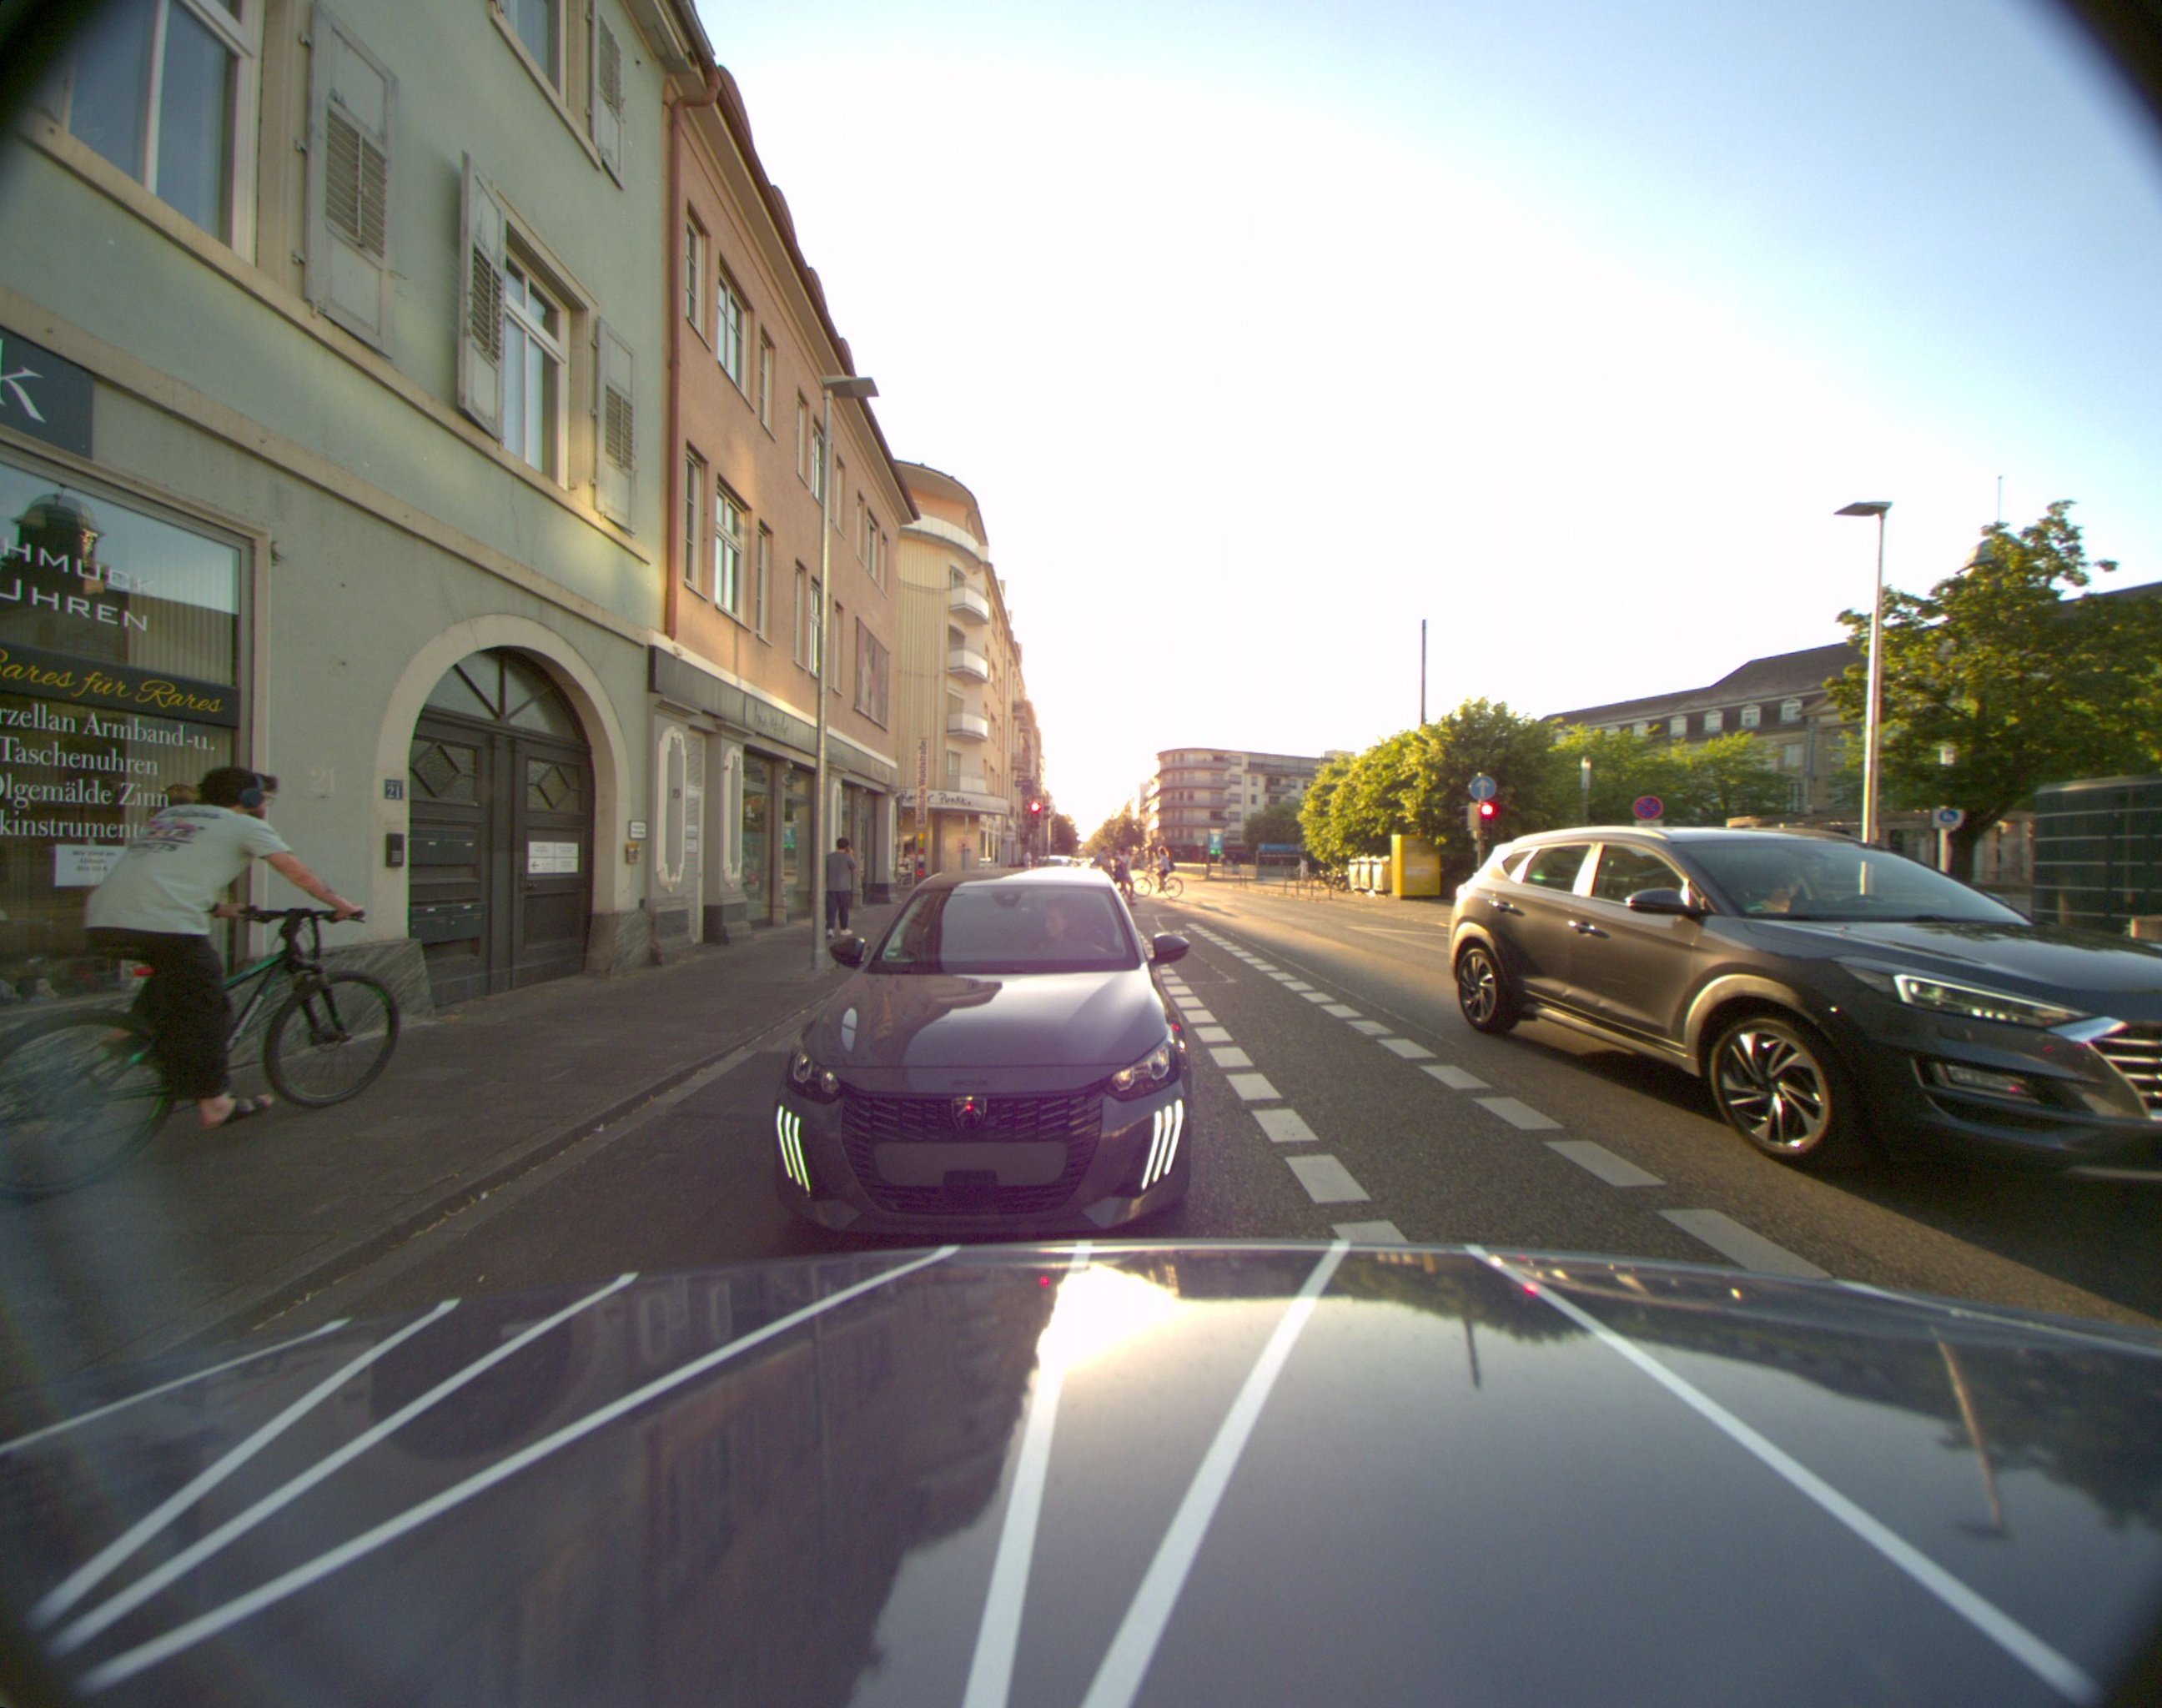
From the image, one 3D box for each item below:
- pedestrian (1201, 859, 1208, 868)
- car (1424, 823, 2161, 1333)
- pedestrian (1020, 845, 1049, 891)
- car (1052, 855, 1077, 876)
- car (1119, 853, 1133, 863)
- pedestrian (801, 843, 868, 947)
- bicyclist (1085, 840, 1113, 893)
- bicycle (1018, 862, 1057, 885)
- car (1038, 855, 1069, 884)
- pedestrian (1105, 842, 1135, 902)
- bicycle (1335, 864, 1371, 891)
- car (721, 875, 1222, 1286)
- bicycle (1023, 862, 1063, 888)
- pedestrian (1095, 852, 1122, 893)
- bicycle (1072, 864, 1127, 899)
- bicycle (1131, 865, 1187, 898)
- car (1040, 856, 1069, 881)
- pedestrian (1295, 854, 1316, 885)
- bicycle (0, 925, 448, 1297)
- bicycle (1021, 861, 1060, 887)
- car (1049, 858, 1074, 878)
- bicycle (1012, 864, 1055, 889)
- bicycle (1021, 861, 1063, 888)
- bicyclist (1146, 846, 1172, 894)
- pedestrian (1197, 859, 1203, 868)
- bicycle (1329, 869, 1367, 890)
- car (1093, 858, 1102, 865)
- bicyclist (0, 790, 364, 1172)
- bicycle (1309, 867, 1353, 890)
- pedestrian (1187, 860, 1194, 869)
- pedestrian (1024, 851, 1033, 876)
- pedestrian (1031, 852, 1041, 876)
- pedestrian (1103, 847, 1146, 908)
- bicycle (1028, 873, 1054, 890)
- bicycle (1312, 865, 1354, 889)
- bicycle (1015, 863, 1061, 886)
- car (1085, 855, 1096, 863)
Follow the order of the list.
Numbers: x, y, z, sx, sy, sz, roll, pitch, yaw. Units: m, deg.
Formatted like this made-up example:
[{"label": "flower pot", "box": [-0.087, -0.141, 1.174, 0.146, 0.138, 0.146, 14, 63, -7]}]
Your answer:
[{"label": "pedestrian", "box": [18.166, 1.451, 111.752, 0.689, 1.314, 0.819, 0, 0, -24]}, {"label": "car", "box": [4.096, 0.776, 4.739, 1.877, 1.679, 4.450, 1, 0, 0]}, {"label": "pedestrian", "box": [-1.882, 0.551, 30.784, 0.827, 1.806, 0.869, 1, 1, -34]}, {"label": "car", "box": [-1.299, 0.935, 62.223, 1.877, 1.664, 4.430, 0, 0, 0]}, {"label": "car", "box": [8.018, 0.733, 135.531, 1.999, 1.805, 3.999, 1, 0, -2]}, {"label": "pedestrian", "box": [-4.015, 0.647, 12.438, 0.825, 1.632, 0.871, 1, 0, -2]}, {"label": "bicyclist", "box": [0.633, 0.426, 26.399, 0.835, 1.815, 0.831, 1, 0, 8]}, {"label": "bicycle", "box": [-2.217, 0.998, 38.437, 1.851, 1.117, 0.594, 2, 1, -11]}, {"label": "car", "box": [-1.633, 0.880, 44.772, 1.702, 1.607, 4.682, 0, 0, -2]}, {"label": "pedestrian", "box": [1.270, 0.567, 24.645, 0.940, 1.886, 0.826, 1, 0, 4]}, {"label": "bicycle", "box": [13.198, 1.132, 36.844, 1.590, 1.245, 0.445, -1, 0, -2]}, {"label": "car", "box": [-0.433, 0.930, 5.131, 1.908, 1.438, 4.449, 0, 0, -1]}, {"label": "bicycle", "box": [-1.808, 0.973, 35.855, 1.788, 1.166, 0.622, 2, 0, -11]}, {"label": "pedestrian", "box": [1.129, 0.742, 31.290, 0.789, 1.643, 0.782, 1, 1, 43]}, {"label": "bicycle", "box": [0.652, 0.941, 26.392, 1.823, 1.179, 0.794, 1, 0, 9]}, {"label": "bicycle", "box": [2.839, 0.990, 27.559, 1.917, 1.111, 0.706, 1, 0, 17]}, {"label": "car", "box": [-1.738, 0.922, 51.050, 1.821, 1.611, 4.203, 0, 0, 0]}, {"label": "pedestrian", "box": [13.144, 0.902, 44.579, 0.950, 1.806, 0.828, 1, 1, 33]}, {"label": "bicycle", "box": [-4.043, 0.965, 3.482, 0.692, 1.100, 1.896, 1, 0, 0]}, {"label": "bicycle", "box": [-1.944, 0.961, 36.486, 1.788, 1.166, 0.622, 2, 0, -11]}, {"label": "car", "box": [-1.407, 1.015, 56.672, 1.738, 1.448, 4.610, 0, 0, 1]}, {"label": "bicycle", "box": [-2.137, 1.004, 34.169, 1.788, 1.057, 0.718, 2, 0, -11]}, {"label": "bicycle", "box": [-1.807, 0.940, 35.107, 1.849, 1.232, 0.639, 1, 0, -5]}, {"label": "bicyclist", "box": [2.843, 0.582, 27.555, 0.777, 1.714, 0.856, 1, 0, 15]}, {"label": "pedestrian", "box": [17.437, 1.418, 111.287, 0.732, 1.314, 0.889, 0, 0, -1]}, {"label": "bicycle", "box": [13.107, 1.239, 37.316, 1.678, 0.973, 0.548, -1, 0, -4]}, {"label": "car", "box": [3.426, 1.616, 159.729, 1.790, 1.458, 3.956, 2, 0, -1]}, {"label": "bicyclist", "box": [-4.036, 0.500, 3.437, 0.724, 1.499, 0.900, 1, 0, 1]}, {"label": "bicycle", "box": [12.468, 1.215, 37.950, 2.031, 1.128, 0.548, -1, 0, -4]}, {"label": "pedestrian", "box": [15.819, 1.532, 109.823, 0.887, 1.185, 0.733, 0, 0, 9]}, {"label": "pedestrian", "box": [-4.364, 0.789, 63.162, 0.673, 2.002, 0.851, 0, 1, 0]}, {"label": "pedestrian", "box": [-3.763, 0.814, 63.472, 0.763, 2.002, 0.851, 0, 0, 0]}, {"label": "pedestrian", "box": [1.310, 0.680, 22.709, 1.098, 1.764, 0.827, 1, 0, 15]}, {"label": "bicycle", "box": [-1.765, 1.215, 33.506, 1.008, 0.677, 1.049, 1, 0, -9]}, {"label": "bicycle", "box": [13.157, 1.192, 39.661, 2.031, 1.245, 0.548, -1, 0, -4]}, {"label": "bicycle", "box": [-2.123, 1.010, 37.438, 2.176, 1.069, 0.805, 2, 0, -7]}, {"label": "car", "box": [2.204, 1.141, 174.872, 1.878, 1.621, 4.177, 3, -1, -5]}]
